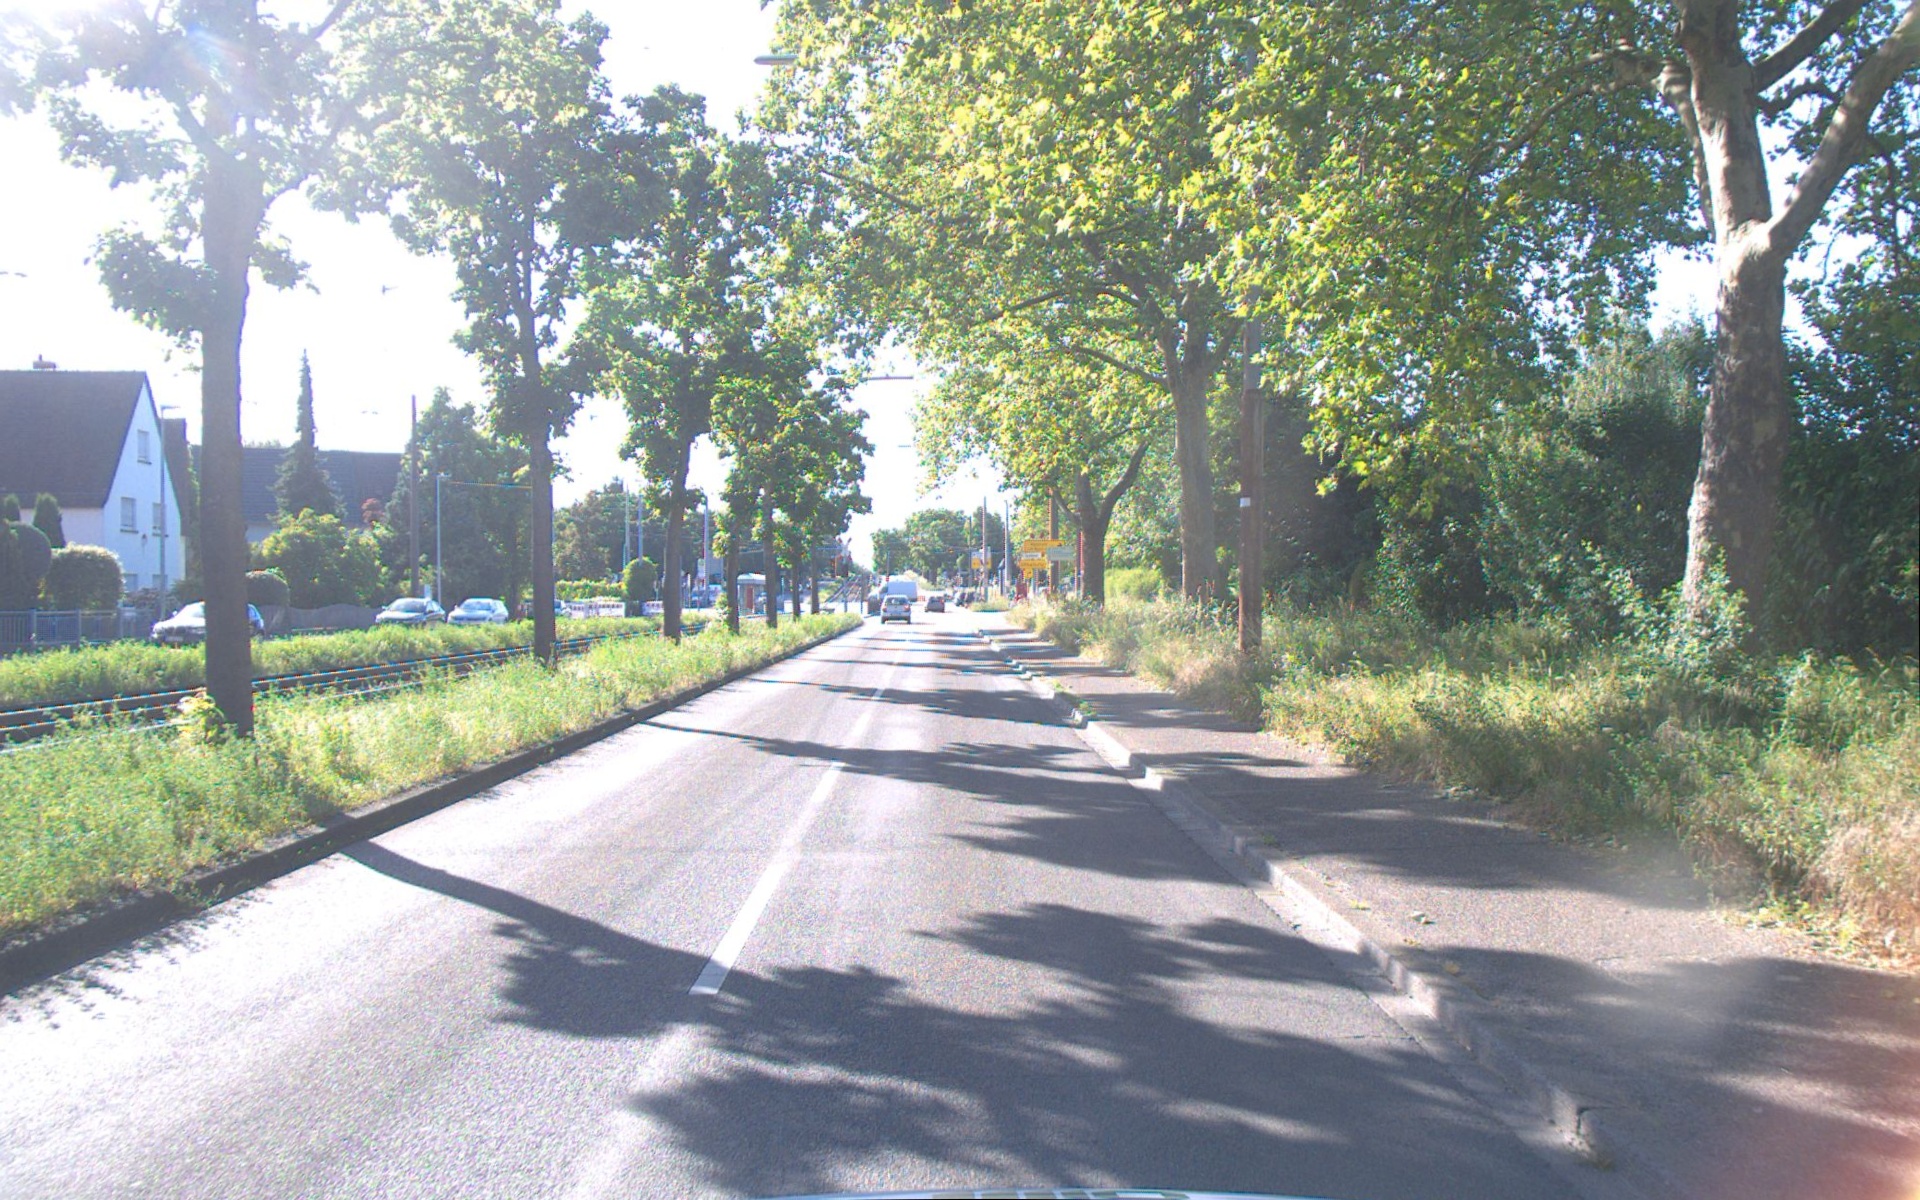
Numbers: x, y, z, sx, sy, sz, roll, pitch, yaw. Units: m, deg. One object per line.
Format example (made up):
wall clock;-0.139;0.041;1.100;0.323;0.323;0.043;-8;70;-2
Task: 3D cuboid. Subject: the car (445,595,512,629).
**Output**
car;-21.896;0.535;75.428;1.822;1.456;4.460;1;0;-1

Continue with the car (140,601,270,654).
car;-21.403;0.743;47.083;1.822;1.393;4.227;1;0;-1

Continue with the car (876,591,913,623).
car;-3.457;0.367;87.810;1.822;1.629;4.227;1;0;-1

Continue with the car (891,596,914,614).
car;-5.249;0.459;151.124;1.953;1.631;4.472;1;0;-1

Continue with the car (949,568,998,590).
car;1.490;-2.333;184.382;5.083;2.315;1.985;1;0;-26

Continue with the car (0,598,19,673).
car;-21.201;0.738;33.169;1.953;1.572;4.779;1;0;-1

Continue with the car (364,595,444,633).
car;-21.976;0.528;65.526;1.822;1.438;4.157;1;0;-1

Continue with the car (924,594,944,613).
car;-2.309;0.283;145.857;1.755;1.586;4.227;1;0;-1

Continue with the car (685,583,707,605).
car;-29.717;-0.658;186.127;2.047;2.396;5.256;1;0;-5

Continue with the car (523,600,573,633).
car;-22.558;0.884;90.598;1.742;1.737;4.227;1;0;-1

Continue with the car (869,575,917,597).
car;-7.646;-1.626;189.720;5.177;2.396;1.851;1;0;-25
